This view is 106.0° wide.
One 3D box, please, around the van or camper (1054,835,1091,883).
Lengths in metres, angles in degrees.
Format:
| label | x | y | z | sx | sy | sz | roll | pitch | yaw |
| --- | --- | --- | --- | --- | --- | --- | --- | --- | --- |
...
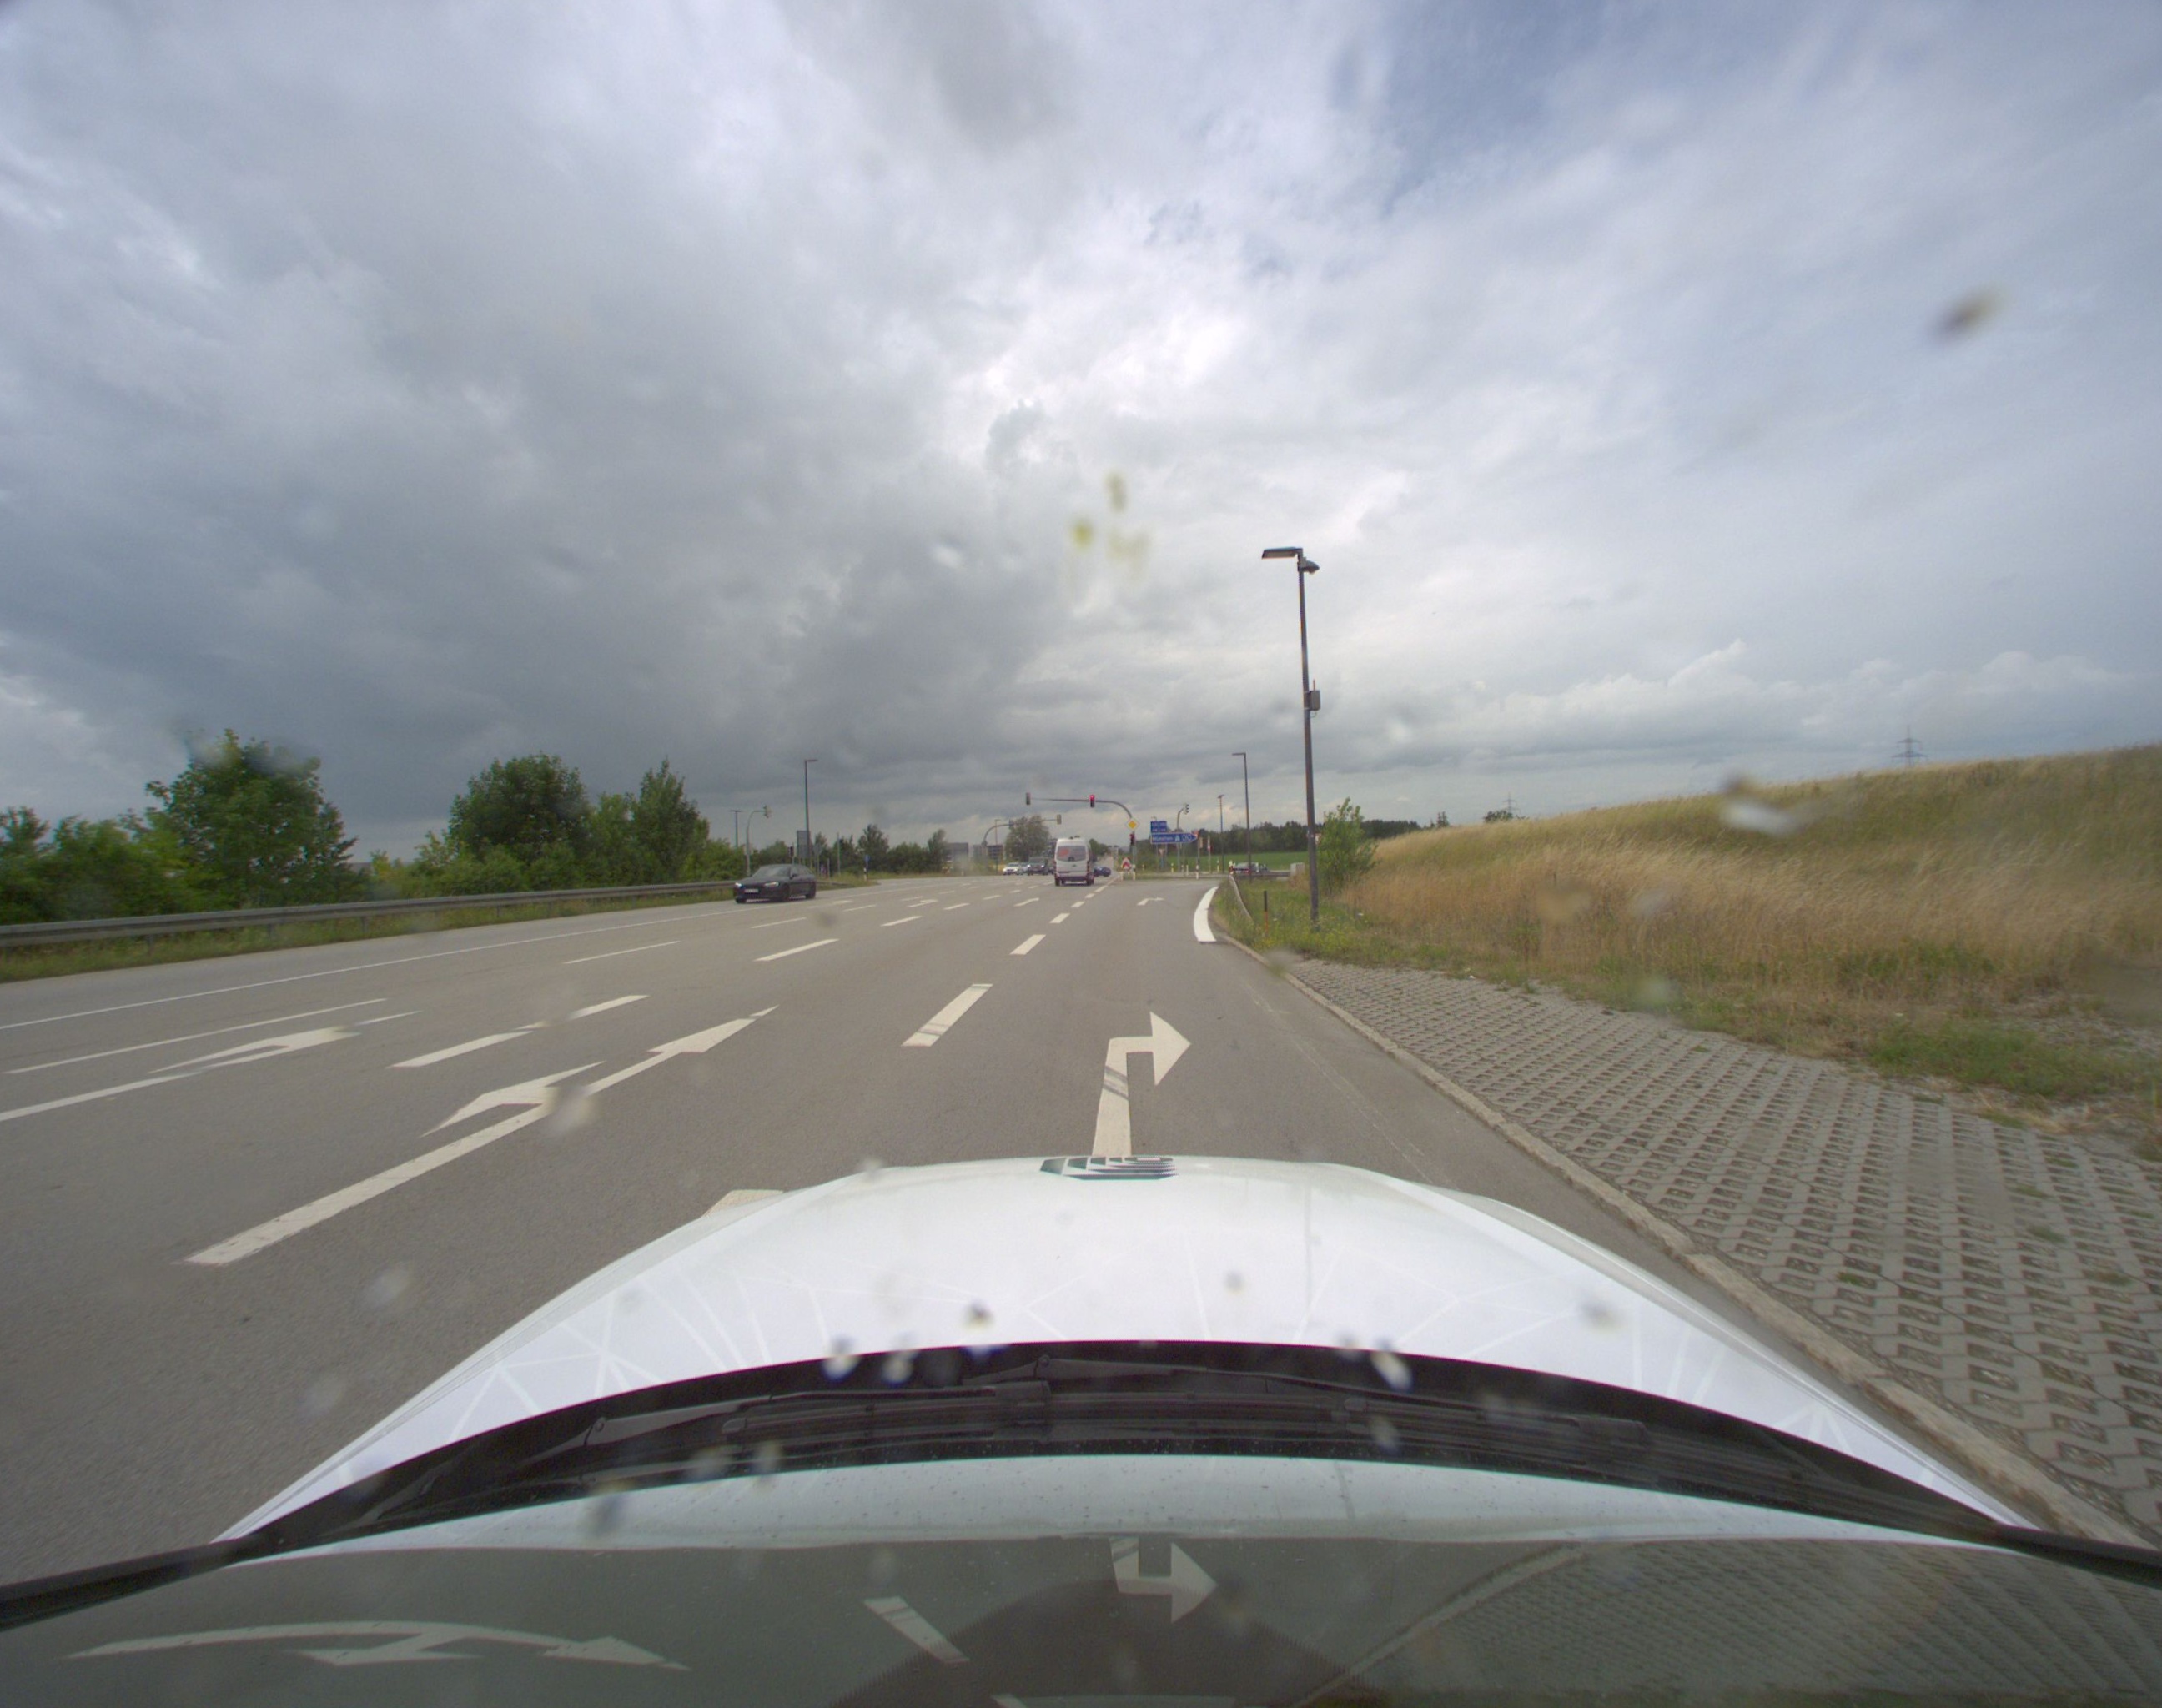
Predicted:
| label | x | y | z | sx | sy | sz | roll | pitch | yaw |
| --- | --- | --- | --- | --- | --- | --- | --- | --- | --- |
| van or camper | -0.426 | 0.279 | 45.777 | 1.869 | 2.581 | 4.002 | 0 | 0 | 2 |

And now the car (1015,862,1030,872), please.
| label | x | y | z | sx | sy | sz | roll | pitch | yaw |
| --- | --- | --- | --- | --- | --- | --- | --- | --- | --- |
| car | -7.645 | 1.723 | 105.955 | 1.474 | 1.178 | 3.536 | -2 | 0 | 3 |

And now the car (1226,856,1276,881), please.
| label | x | y | z | sx | sy | sz | roll | pitch | yaw |
| --- | --- | --- | --- | --- | --- | --- | --- | --- | --- |
| car | 11.299 | 0.956 | 54.035 | 1.504 | 1.485 | 3.637 | -2 | 0 | 44 |

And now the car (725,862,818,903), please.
| label | x | y | z | sx | sy | sz | roll | pitch | yaw |
| --- | --- | --- | --- | --- | --- | --- | --- | --- | --- |
| car | -11.704 | 1.041 | 31.042 | 1.837 | 1.425 | 3.912 | -2 | -1 | 3 |

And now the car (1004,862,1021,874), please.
| label | x | y | z | sx | sy | sz | roll | pitch | yaw |
| --- | --- | --- | --- | --- | --- | --- | --- | --- | --- |
| car | -8.014 | 1.653 | 95.389 | 1.474 | 1.282 | 3.536 | -2 | 0 | 3 |

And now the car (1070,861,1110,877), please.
| label | x | y | z | sx | sy | sz | roll | pitch | yaw |
| --- | --- | --- | --- | --- | --- | --- | --- | --- | --- |
| car | 0.764 | 1.318 | 70.130 | 3.129 | 1.266 | 1.495 | -2 | 0 | 32 |

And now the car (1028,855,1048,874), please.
| label | x | y | z | sx | sy | sz | roll | pitch | yaw |
| --- | --- | --- | --- | --- | --- | --- | --- | --- | --- |
| car | -4.470 | 1.098 | 85.578 | 1.631 | 1.852 | 3.752 | -2 | 0 | 3 |
